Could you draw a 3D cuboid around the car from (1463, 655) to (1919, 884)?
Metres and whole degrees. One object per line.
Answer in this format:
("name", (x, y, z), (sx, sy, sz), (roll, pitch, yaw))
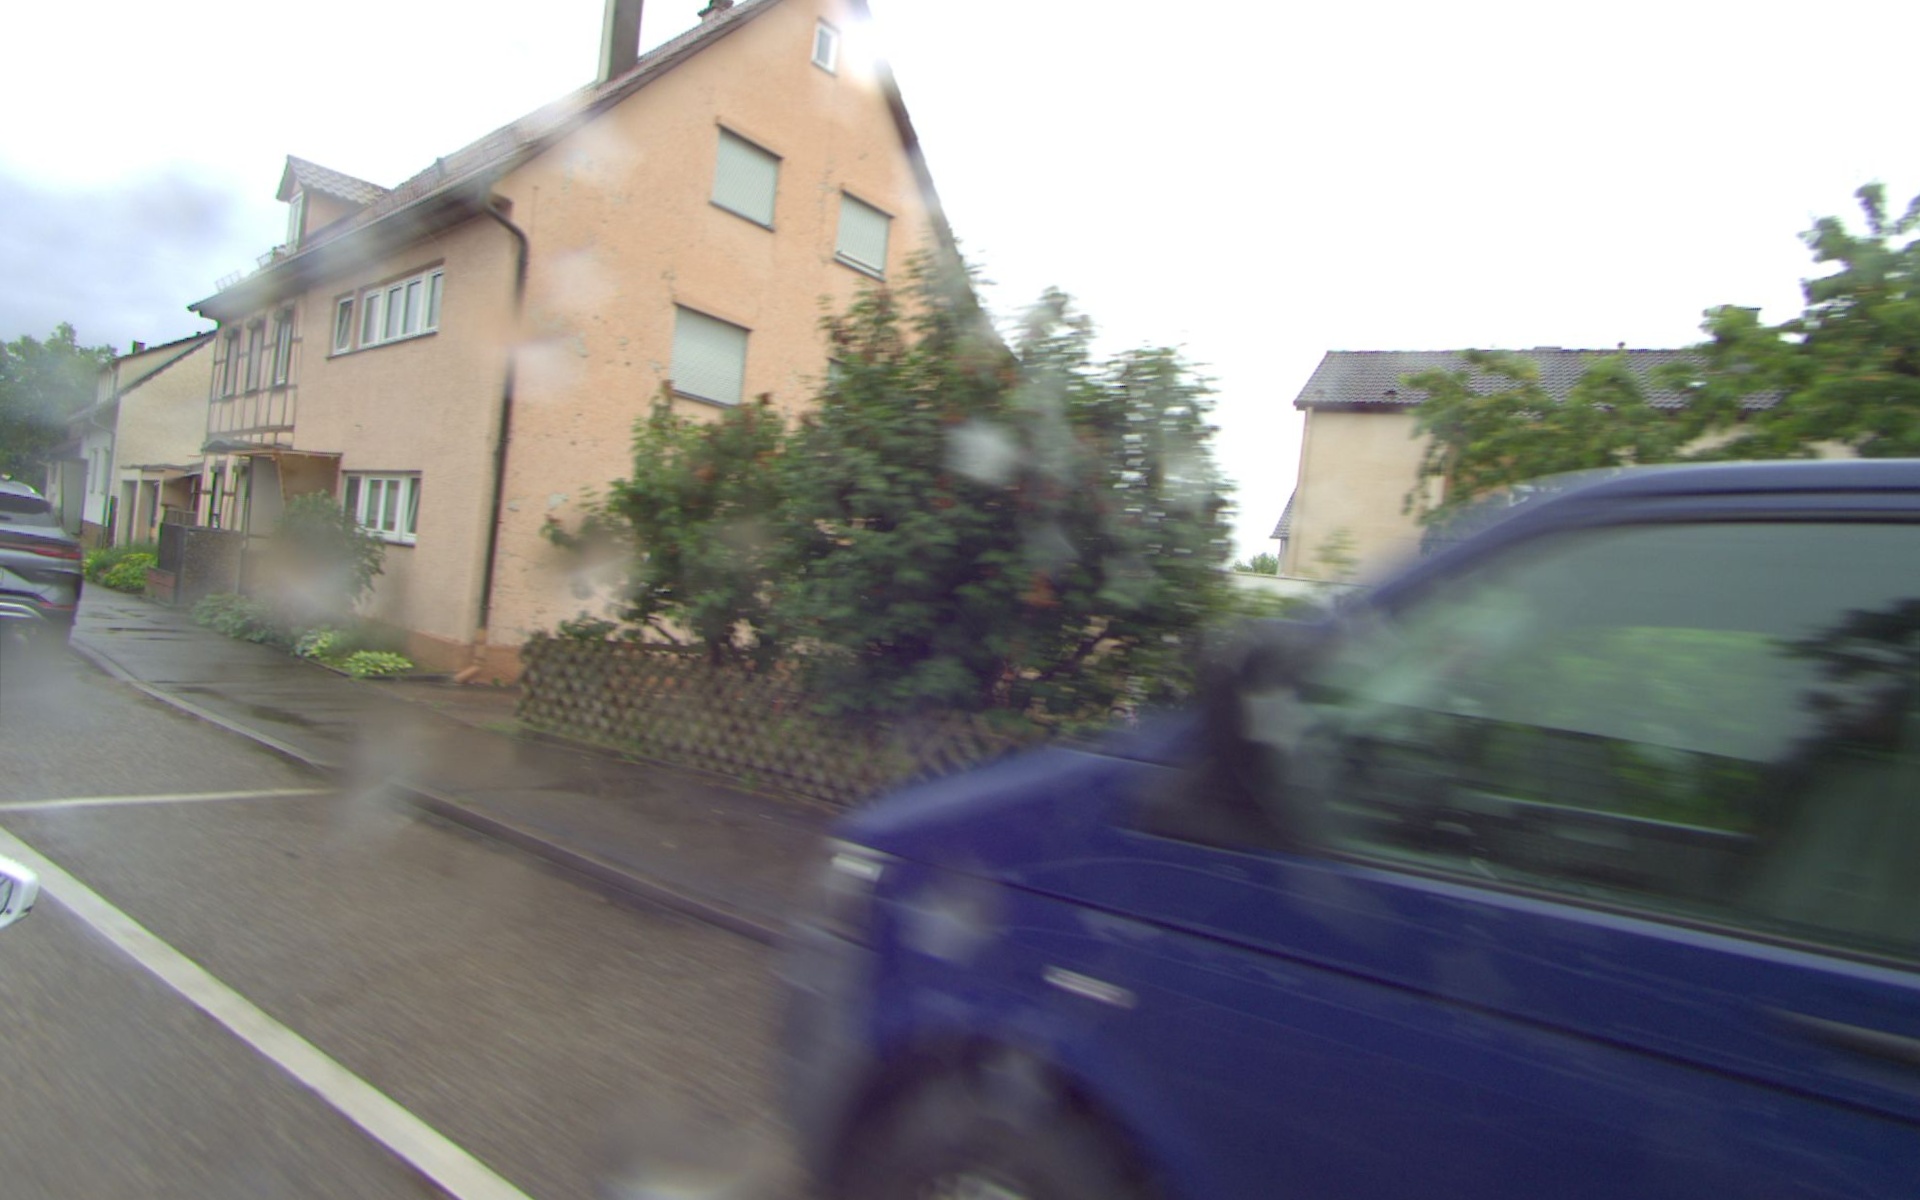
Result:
("car", (10.011, 2.195, 14.018), (5.093, 2.108, 1.952), (7, -1, 25))

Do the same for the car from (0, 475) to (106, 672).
("car", (-10.600, -0.474, 10.302), (4.489, 1.736, 1.909), (6, -3, 39))

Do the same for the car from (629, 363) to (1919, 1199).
("car", (1.860, 0.817, 1.767), (4.714, 1.924, 1.934), (6, -2, 32))
